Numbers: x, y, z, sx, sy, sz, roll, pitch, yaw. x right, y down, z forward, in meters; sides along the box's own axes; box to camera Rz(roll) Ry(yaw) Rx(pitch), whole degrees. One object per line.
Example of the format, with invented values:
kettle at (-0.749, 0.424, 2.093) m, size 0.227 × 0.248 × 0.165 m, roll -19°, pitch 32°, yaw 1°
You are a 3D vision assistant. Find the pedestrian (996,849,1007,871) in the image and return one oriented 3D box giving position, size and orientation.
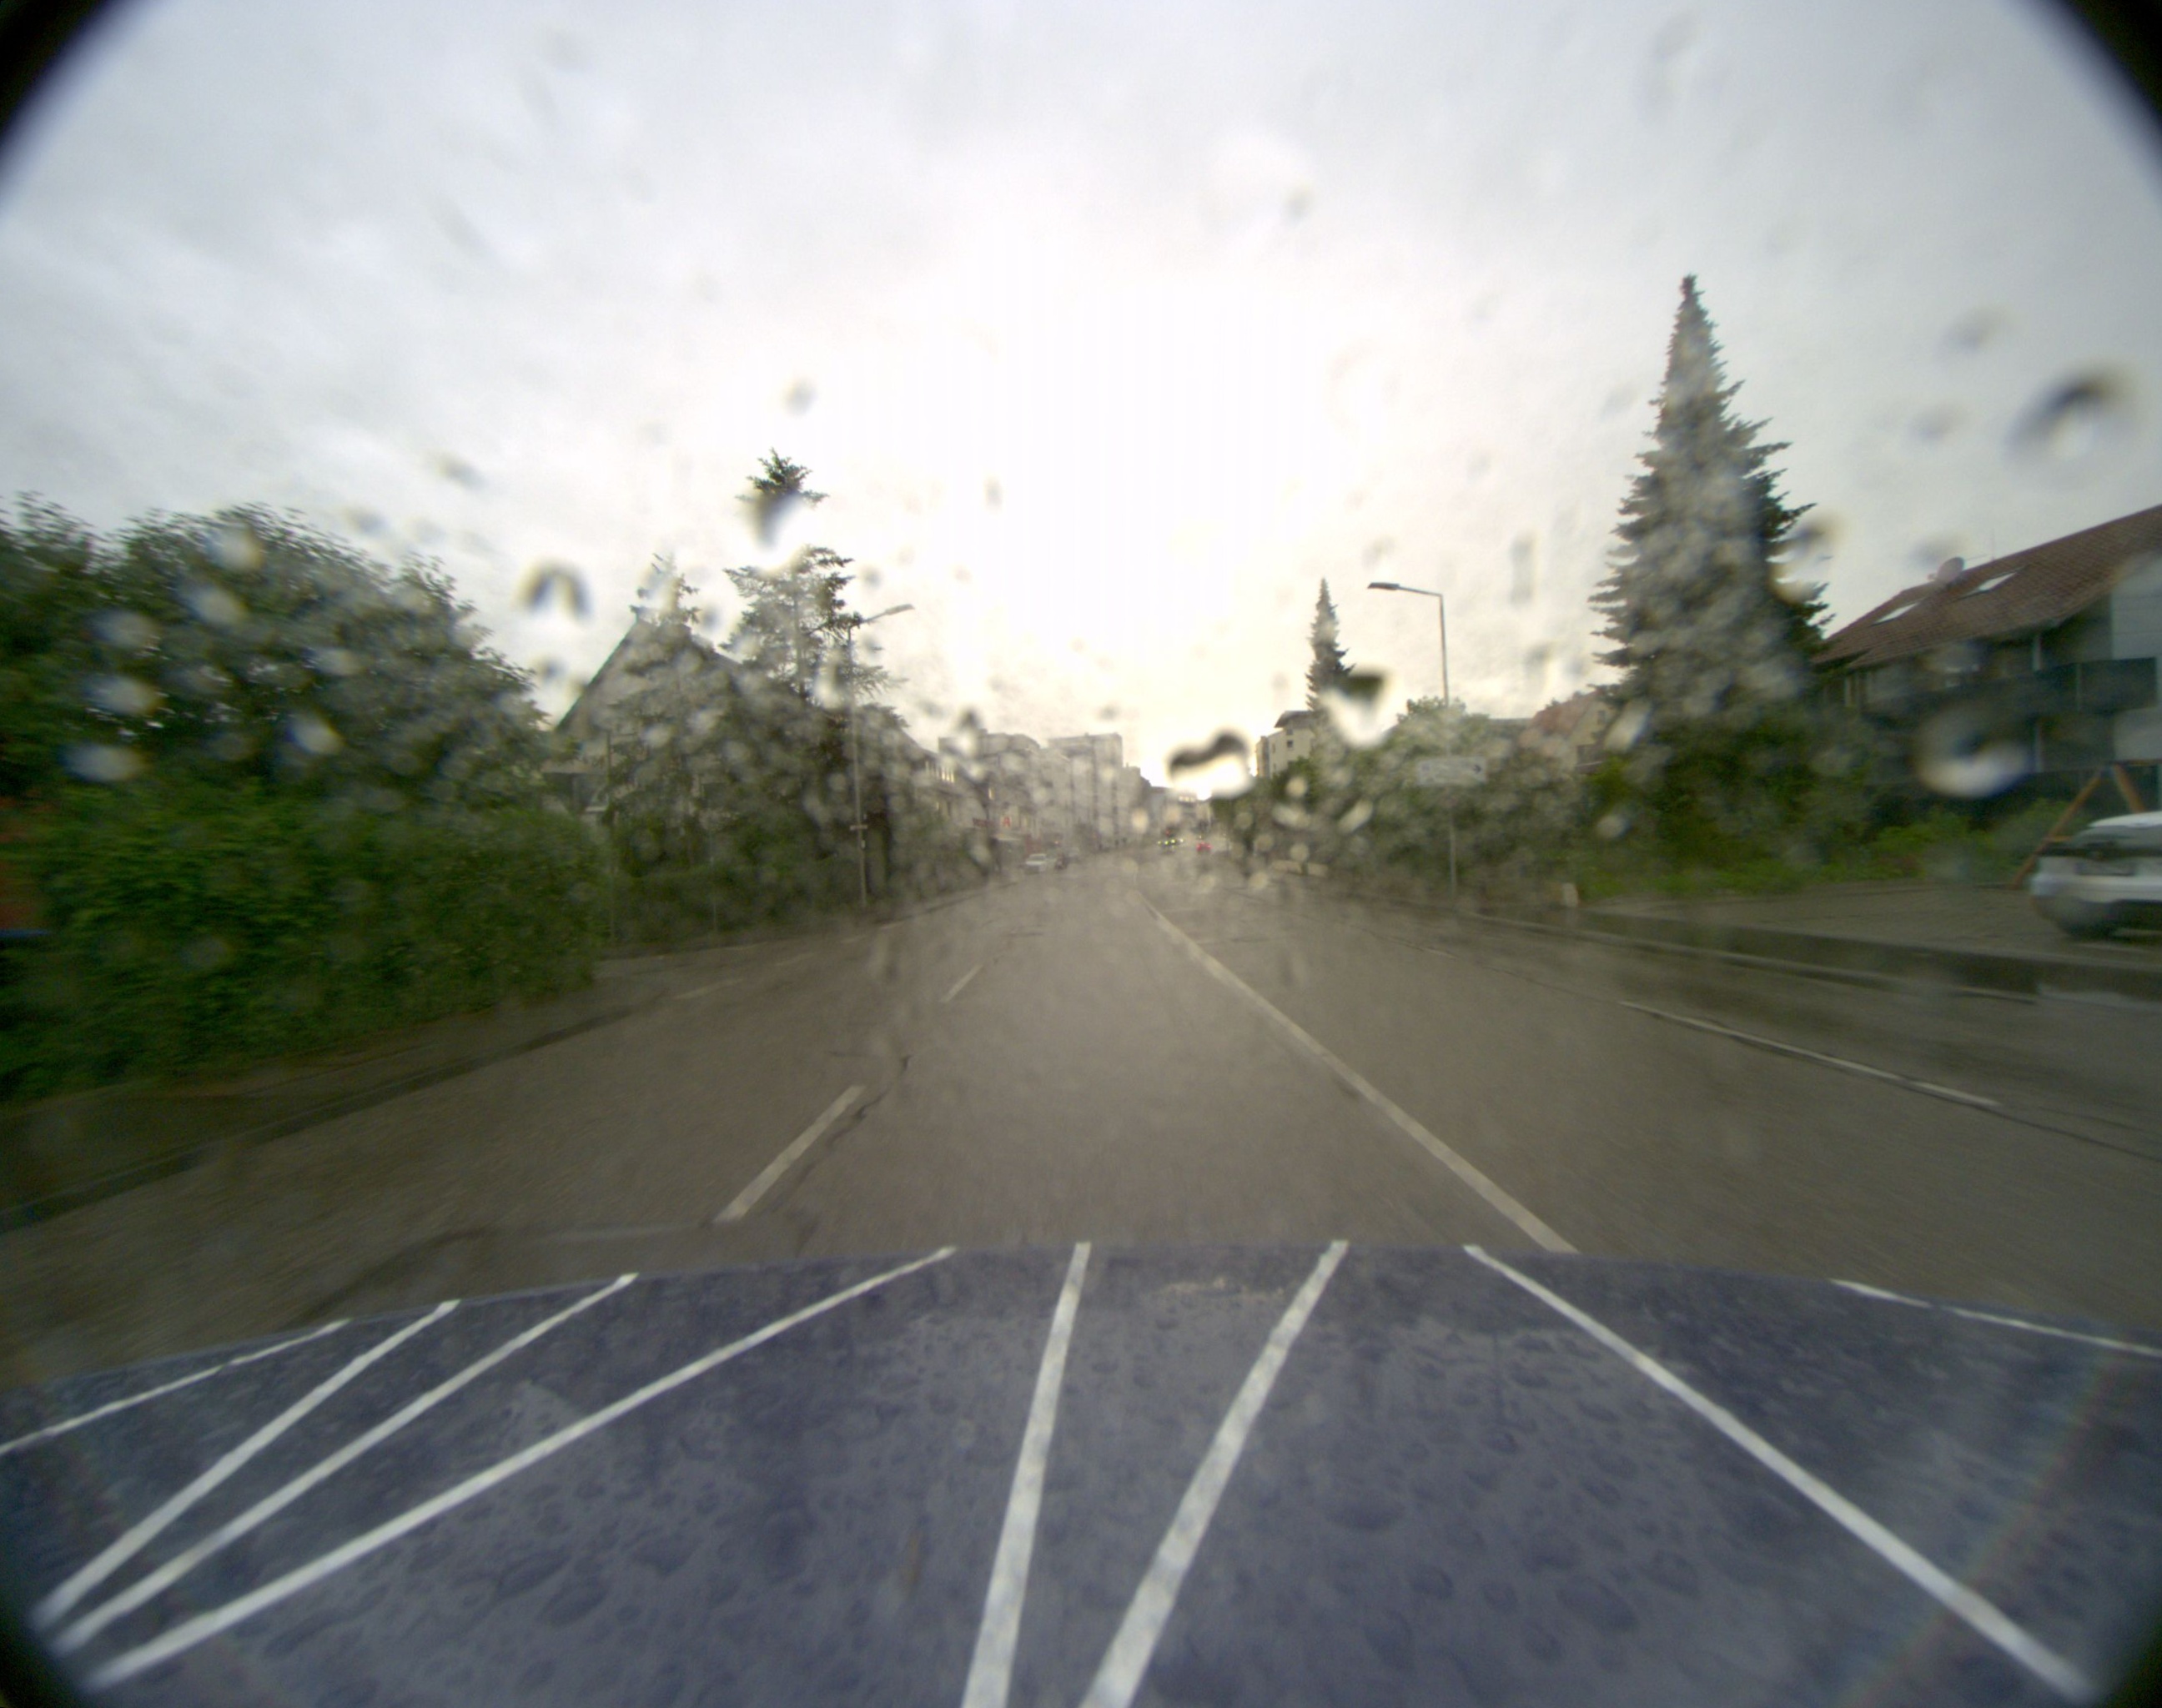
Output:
pedestrian at (-6.032, 0.472, 57.588) m, size 0.696 × 1.622 × 0.621 m, roll -3°, pitch 1°, yaw 0°

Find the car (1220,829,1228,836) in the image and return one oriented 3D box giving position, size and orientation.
car at (36.890, -5.550, 195.994) m, size 1.850 × 1.753 × 4.125 m, roll -2°, pitch 0°, yaw 14°

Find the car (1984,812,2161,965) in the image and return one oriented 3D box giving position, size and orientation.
car at (13.322, 0.253, 8.346) m, size 4.114 × 1.536 × 2.001 m, roll -4°, pitch 0°, yaw 6°

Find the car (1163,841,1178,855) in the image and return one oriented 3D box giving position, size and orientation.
car at (12.866, -0.852, 109.254) m, size 1.851 × 1.870 × 4.122 m, roll -2°, pitch 1°, yaw 5°

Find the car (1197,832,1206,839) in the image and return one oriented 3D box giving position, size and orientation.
car at (29.668, -4.561, 187.141) m, size 1.850 × 1.753 × 4.125 m, roll -2°, pitch 0°, yaw 14°

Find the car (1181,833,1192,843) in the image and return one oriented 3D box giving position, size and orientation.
car at (19.434, -2.912, 139.939) m, size 1.850 × 1.753 × 4.124 m, roll -2°, pitch 0°, yaw 11°

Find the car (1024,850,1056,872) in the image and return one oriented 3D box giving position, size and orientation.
car at (-3.149, 0.511, 59.272) m, size 1.912 × 1.622 × 3.703 m, roll -2°, pitch 0°, yaw 5°

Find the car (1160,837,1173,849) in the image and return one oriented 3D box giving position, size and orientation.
car at (13.057, -1.628, 116.607) m, size 1.851 × 1.753 × 4.123 m, roll -2°, pitch 0°, yaw 6°

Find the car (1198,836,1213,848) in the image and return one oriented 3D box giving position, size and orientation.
car at (17.392, -1.630, 106.045) m, size 1.997 × 1.606 × 4.003 m, roll -2°, pitch 0°, yaw 11°
